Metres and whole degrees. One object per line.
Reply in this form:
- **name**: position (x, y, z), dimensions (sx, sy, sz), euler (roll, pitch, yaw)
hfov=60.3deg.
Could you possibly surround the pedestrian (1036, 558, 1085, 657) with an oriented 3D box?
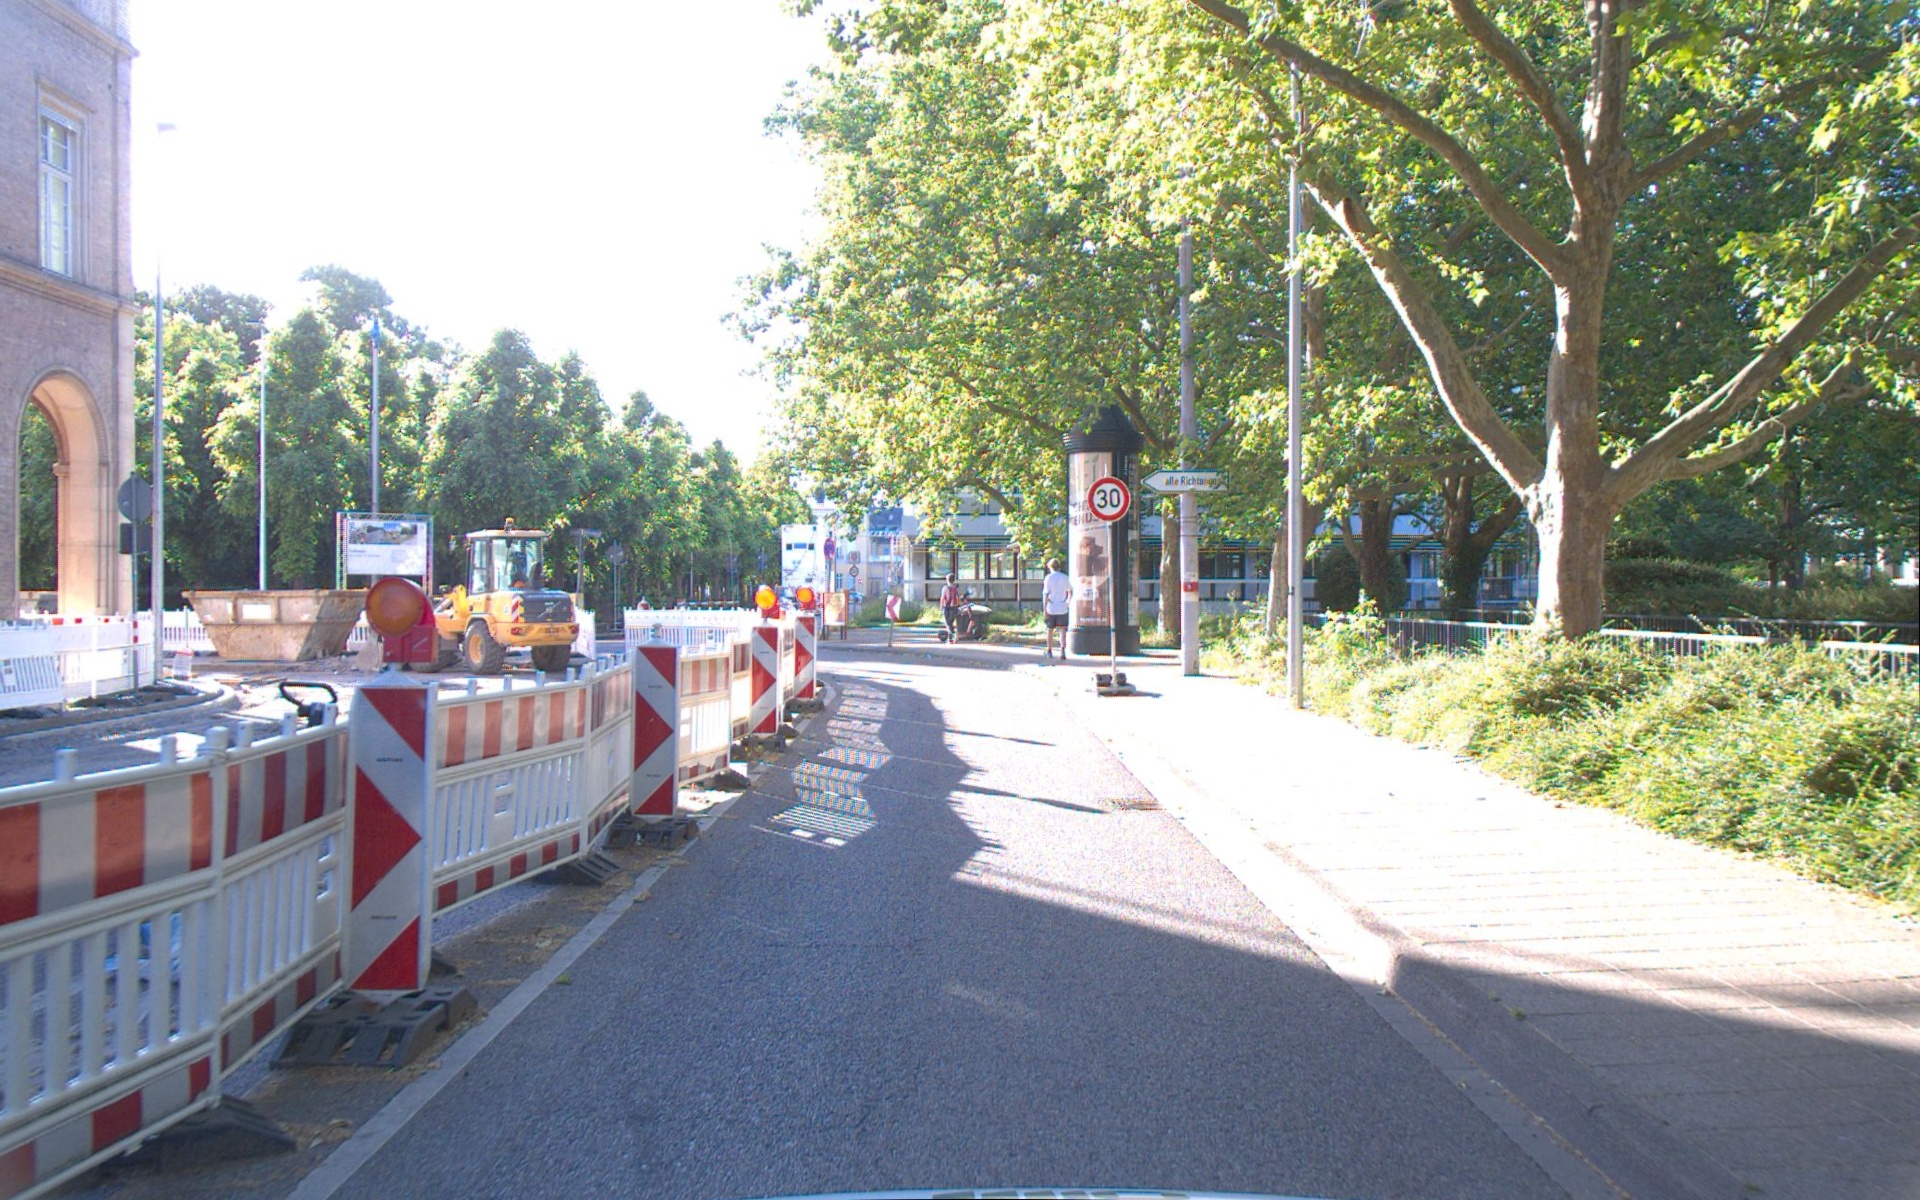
- **pedestrian**: position (1.929, 0.125, 31.835), dimensions (0.730, 1.844, 1.132), euler (1, 1, -6)

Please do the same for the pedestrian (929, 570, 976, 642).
- **pedestrian**: position (-0.177, 0.134, 38.408), dimensions (0.701, 1.652, 0.928), euler (0, -1, -32)

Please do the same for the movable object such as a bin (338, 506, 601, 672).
- **movable object such as a bin**: position (-10.072, -0.204, 33.688), dimensions (5.828, 3.084, 2.551), euler (-1, 0, 43)

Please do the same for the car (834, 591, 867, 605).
- **car**: position (-15.067, -0.237, 228.686), dimensions (4.465, 1.822, 1.999), euler (1, 0, -2)

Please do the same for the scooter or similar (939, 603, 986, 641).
- **scooter or similar**: position (0.053, 0.561, 42.274), dimensions (1.125, 0.930, 0.419), euler (-2, -1, -9)
